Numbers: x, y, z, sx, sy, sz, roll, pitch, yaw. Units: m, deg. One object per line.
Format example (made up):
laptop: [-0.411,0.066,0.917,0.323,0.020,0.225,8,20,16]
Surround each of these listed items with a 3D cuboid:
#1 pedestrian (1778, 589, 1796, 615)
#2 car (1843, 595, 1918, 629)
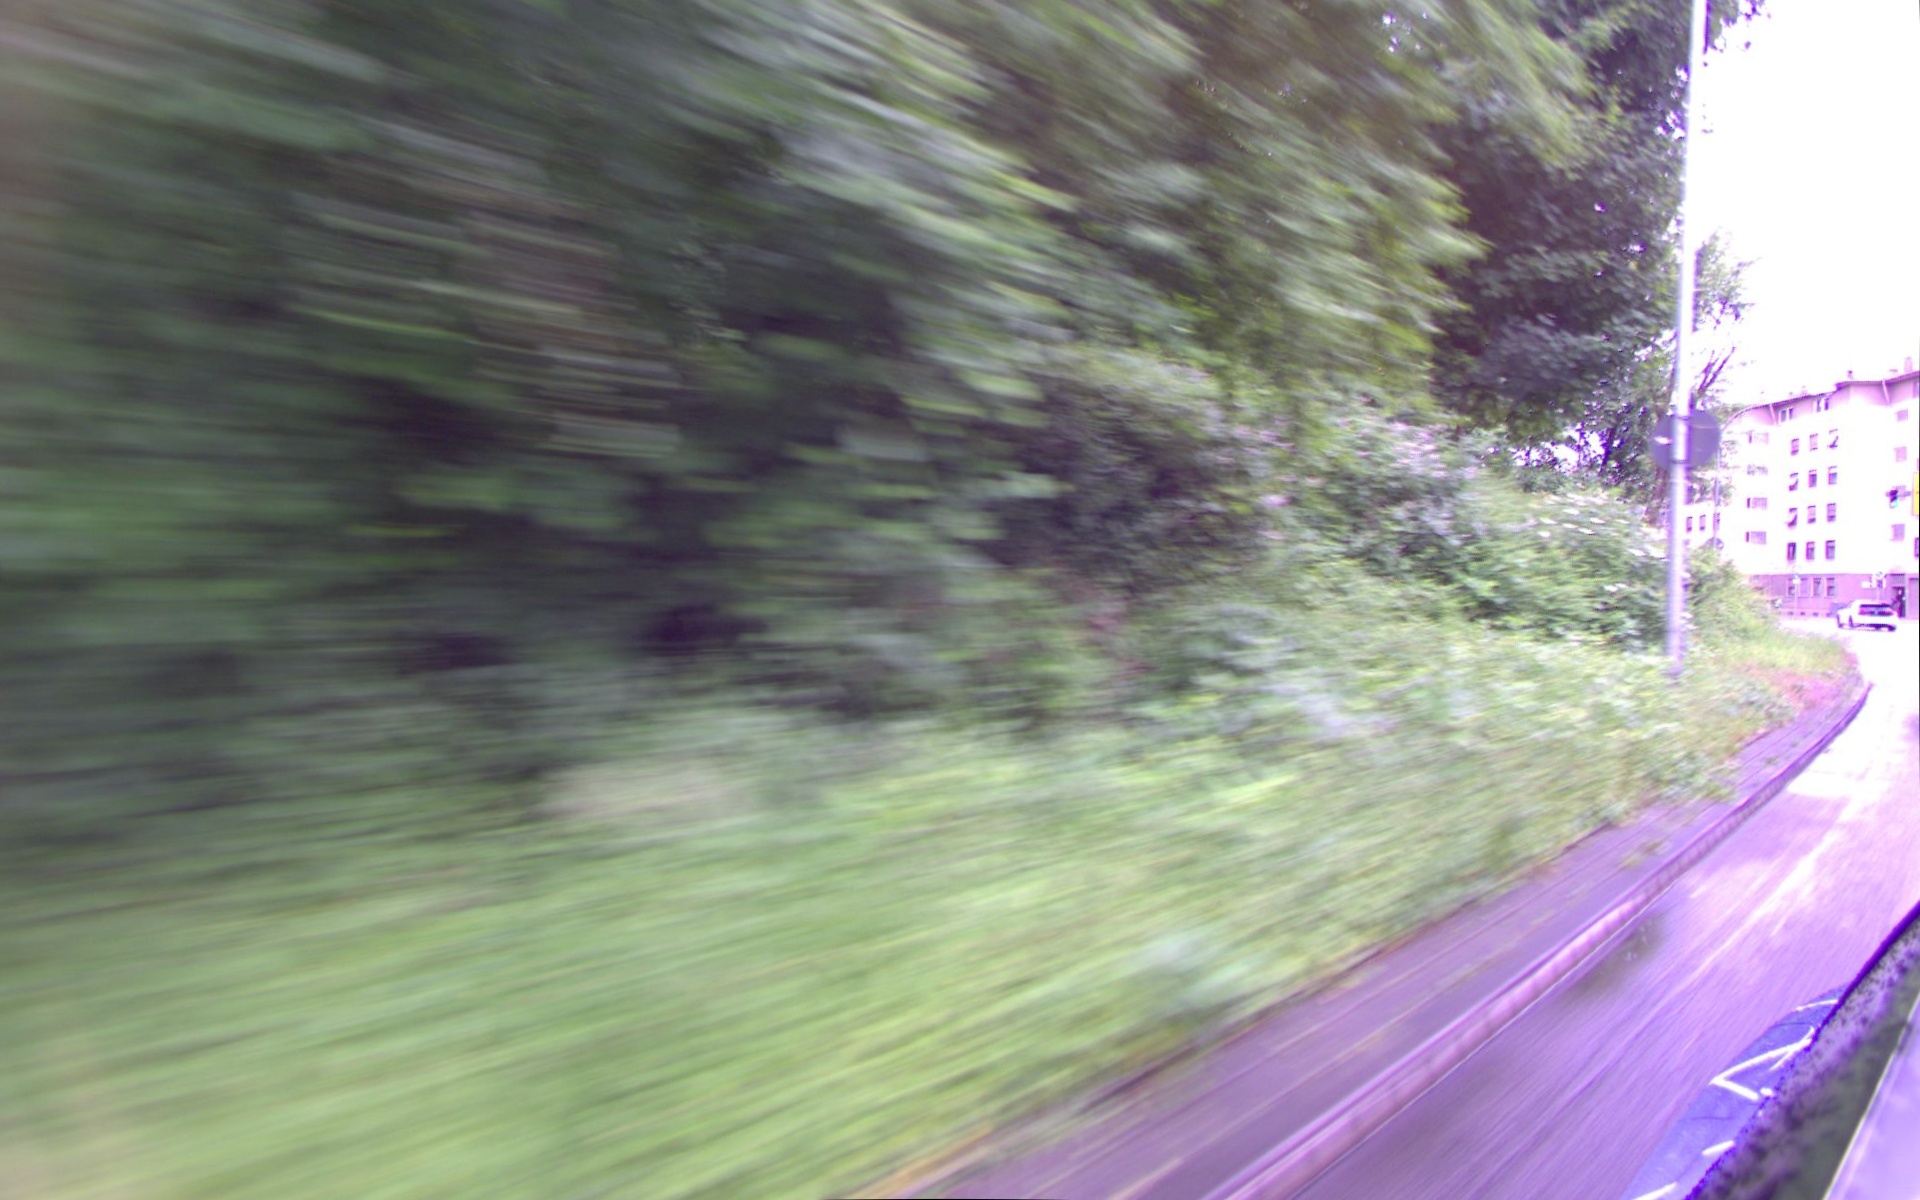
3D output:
pedestrian: [66.445,0.166,81.312,0.798,2.039,0.855,0,-1,13]
car: [46.749,0.576,51.499,1.775,1.514,4.174,3,2,28]
